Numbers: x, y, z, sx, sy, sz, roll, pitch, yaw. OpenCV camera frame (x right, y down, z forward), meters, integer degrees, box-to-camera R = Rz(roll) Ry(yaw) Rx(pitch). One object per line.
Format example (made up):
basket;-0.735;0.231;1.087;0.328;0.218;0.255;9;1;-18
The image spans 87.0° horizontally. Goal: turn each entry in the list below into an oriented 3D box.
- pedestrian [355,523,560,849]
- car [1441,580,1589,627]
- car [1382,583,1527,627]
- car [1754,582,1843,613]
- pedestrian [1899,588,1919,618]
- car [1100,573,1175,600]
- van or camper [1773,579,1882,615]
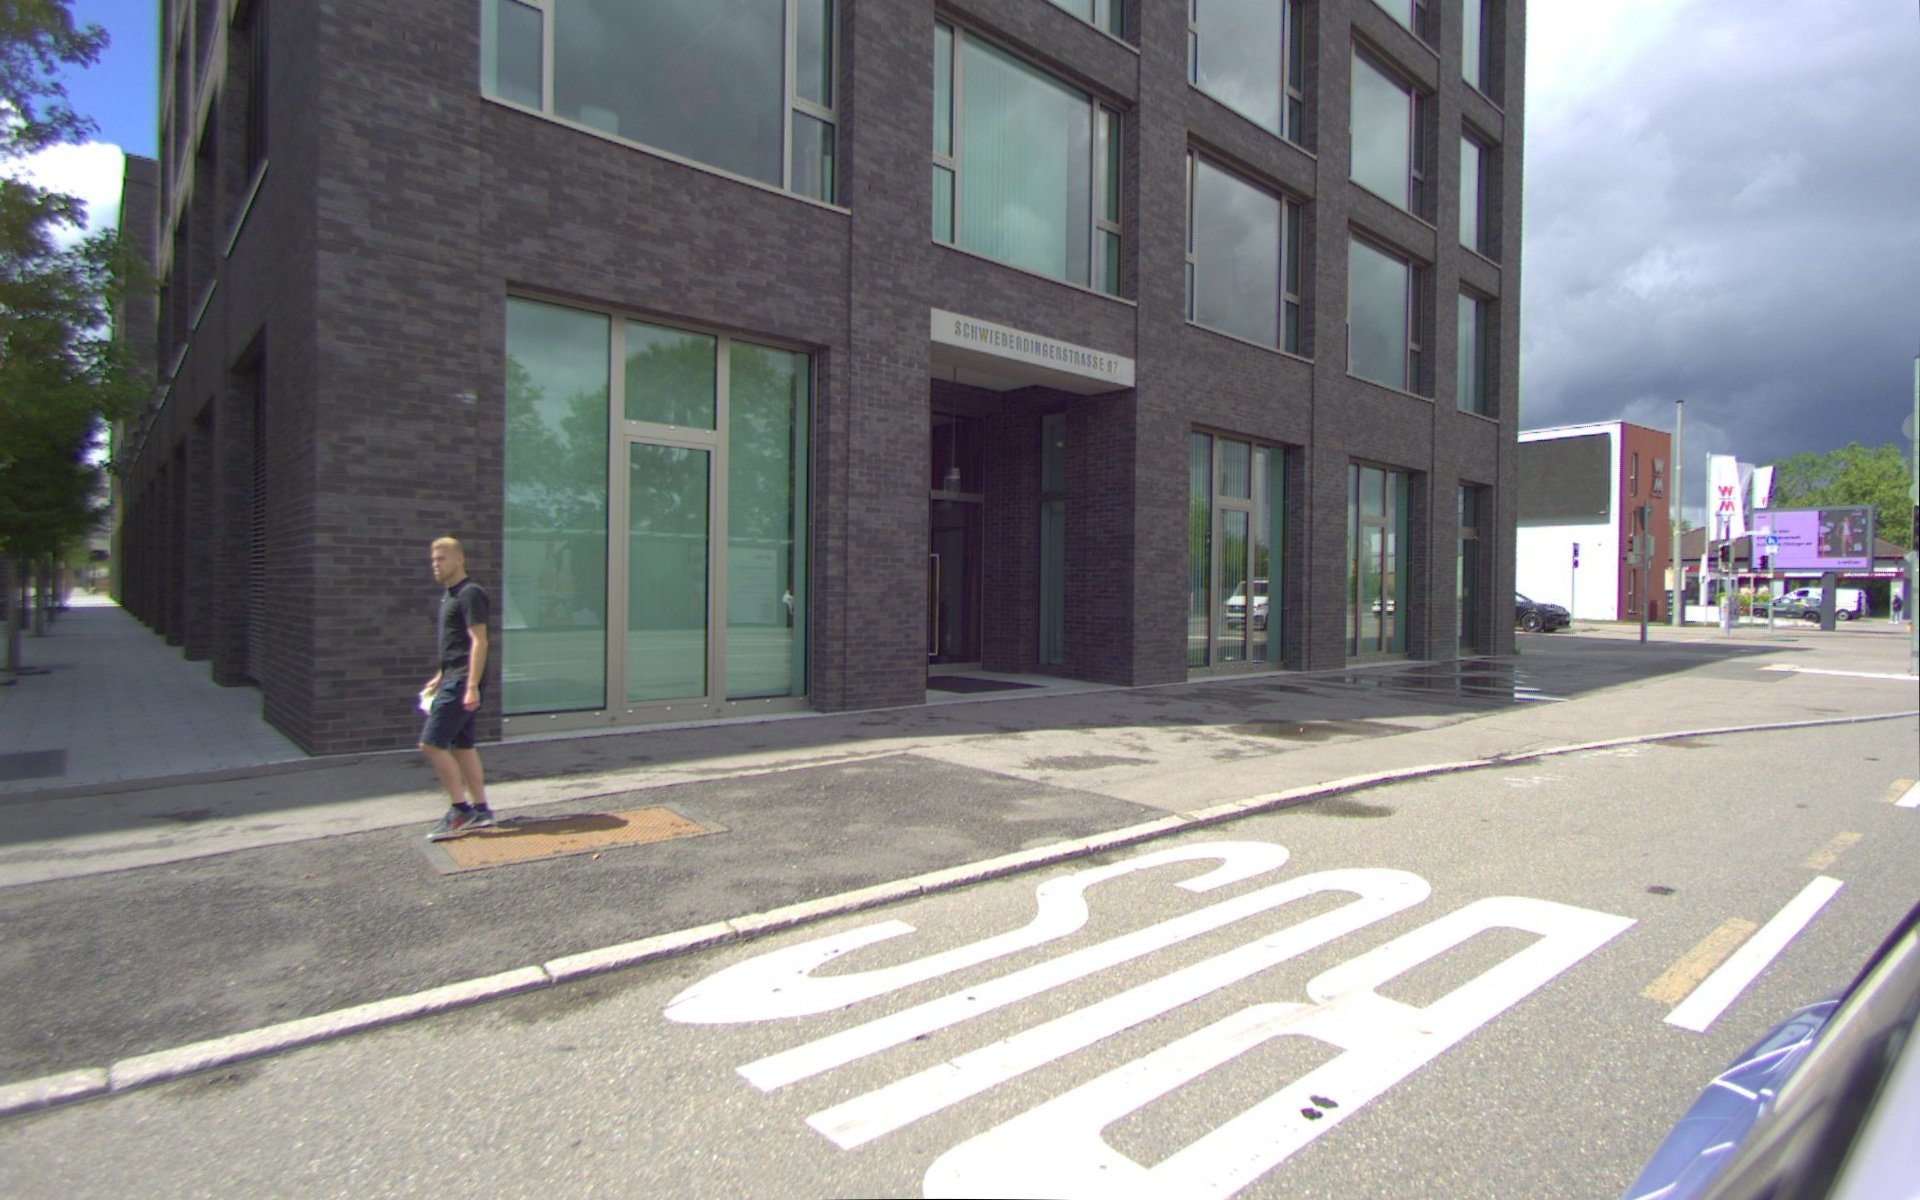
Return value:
pedestrian;-2.976;0.459;6.007;0.945;1.749;0.684;0;0;-41
car;21.493;0.090;39.329;1.965;1.639;4.649;0;1;-40
car;18.624;0.127;38.306;1.965;1.511;4.534;-1;2;-40
car;49.581;-0.164;59.900;1.730;1.503;3.679;-1;5;-38
pedestrian;56.872;0.178;60.585;0.726;1.726;0.715;-1;8;-39
car;11.069;-0.847;63.295;4.300;1.589;1.841;2;2;45
van or camper;55.614;-0.254;64.945;2.173;1.981;4.911;-1;4;-39
